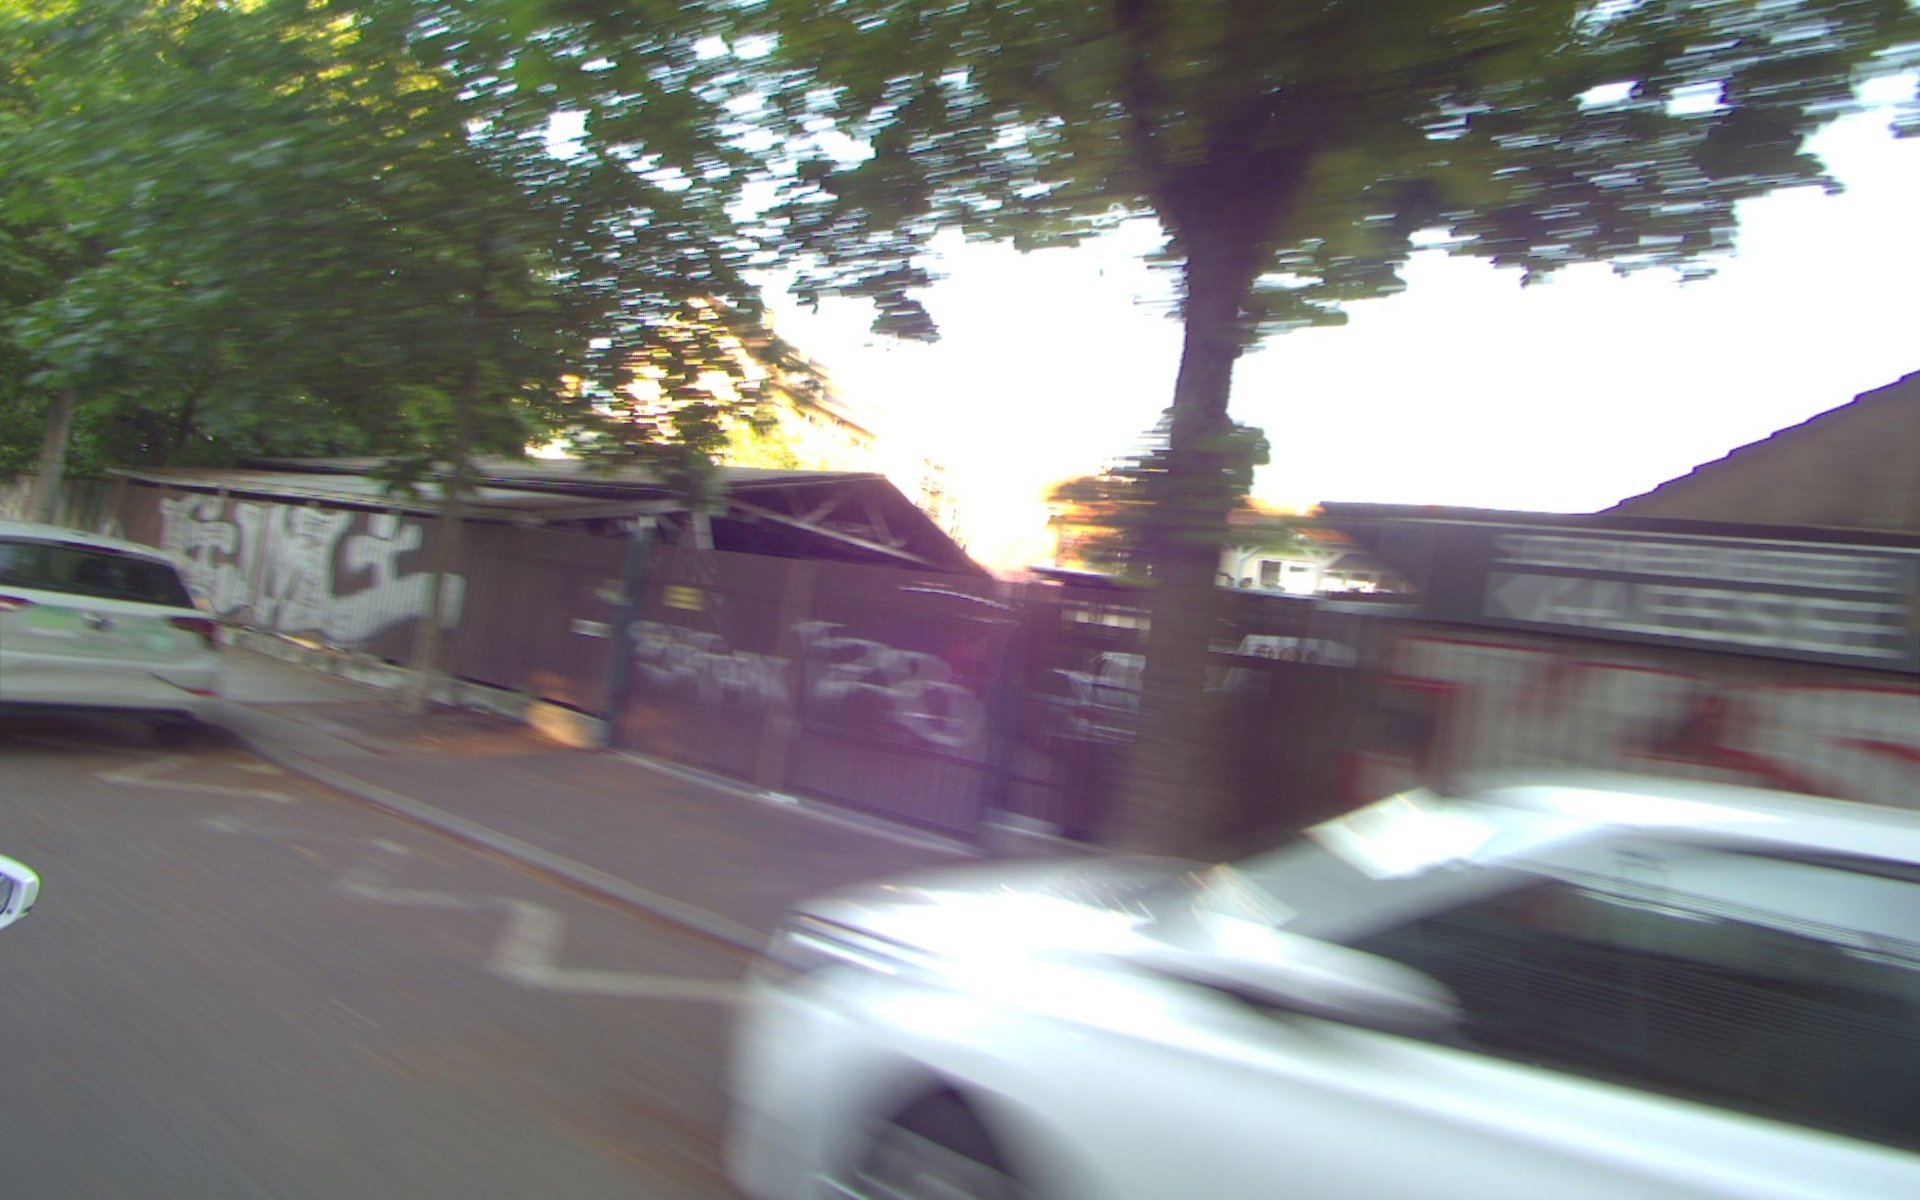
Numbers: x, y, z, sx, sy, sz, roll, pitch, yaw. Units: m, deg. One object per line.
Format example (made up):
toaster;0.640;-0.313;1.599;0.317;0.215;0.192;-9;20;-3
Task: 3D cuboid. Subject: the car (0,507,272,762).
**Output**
car;-7.173;0.079;7.534;3.939;1.458;1.763;8;-2;32

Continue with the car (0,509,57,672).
car;-10.932;-0.378;9.916;4.319;1.471;1.763;7;-2;32

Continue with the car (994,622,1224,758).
car;3.010;1.805;20.528;4.009;2.023;1.859;8;-2;32

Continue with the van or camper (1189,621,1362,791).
van or camper;5.863;1.932;18.339;1.966;2.480;3.999;8;-2;29

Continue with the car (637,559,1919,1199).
car;1.462;1.002;2.058;3.958;1.536;1.726;8;-2;32
